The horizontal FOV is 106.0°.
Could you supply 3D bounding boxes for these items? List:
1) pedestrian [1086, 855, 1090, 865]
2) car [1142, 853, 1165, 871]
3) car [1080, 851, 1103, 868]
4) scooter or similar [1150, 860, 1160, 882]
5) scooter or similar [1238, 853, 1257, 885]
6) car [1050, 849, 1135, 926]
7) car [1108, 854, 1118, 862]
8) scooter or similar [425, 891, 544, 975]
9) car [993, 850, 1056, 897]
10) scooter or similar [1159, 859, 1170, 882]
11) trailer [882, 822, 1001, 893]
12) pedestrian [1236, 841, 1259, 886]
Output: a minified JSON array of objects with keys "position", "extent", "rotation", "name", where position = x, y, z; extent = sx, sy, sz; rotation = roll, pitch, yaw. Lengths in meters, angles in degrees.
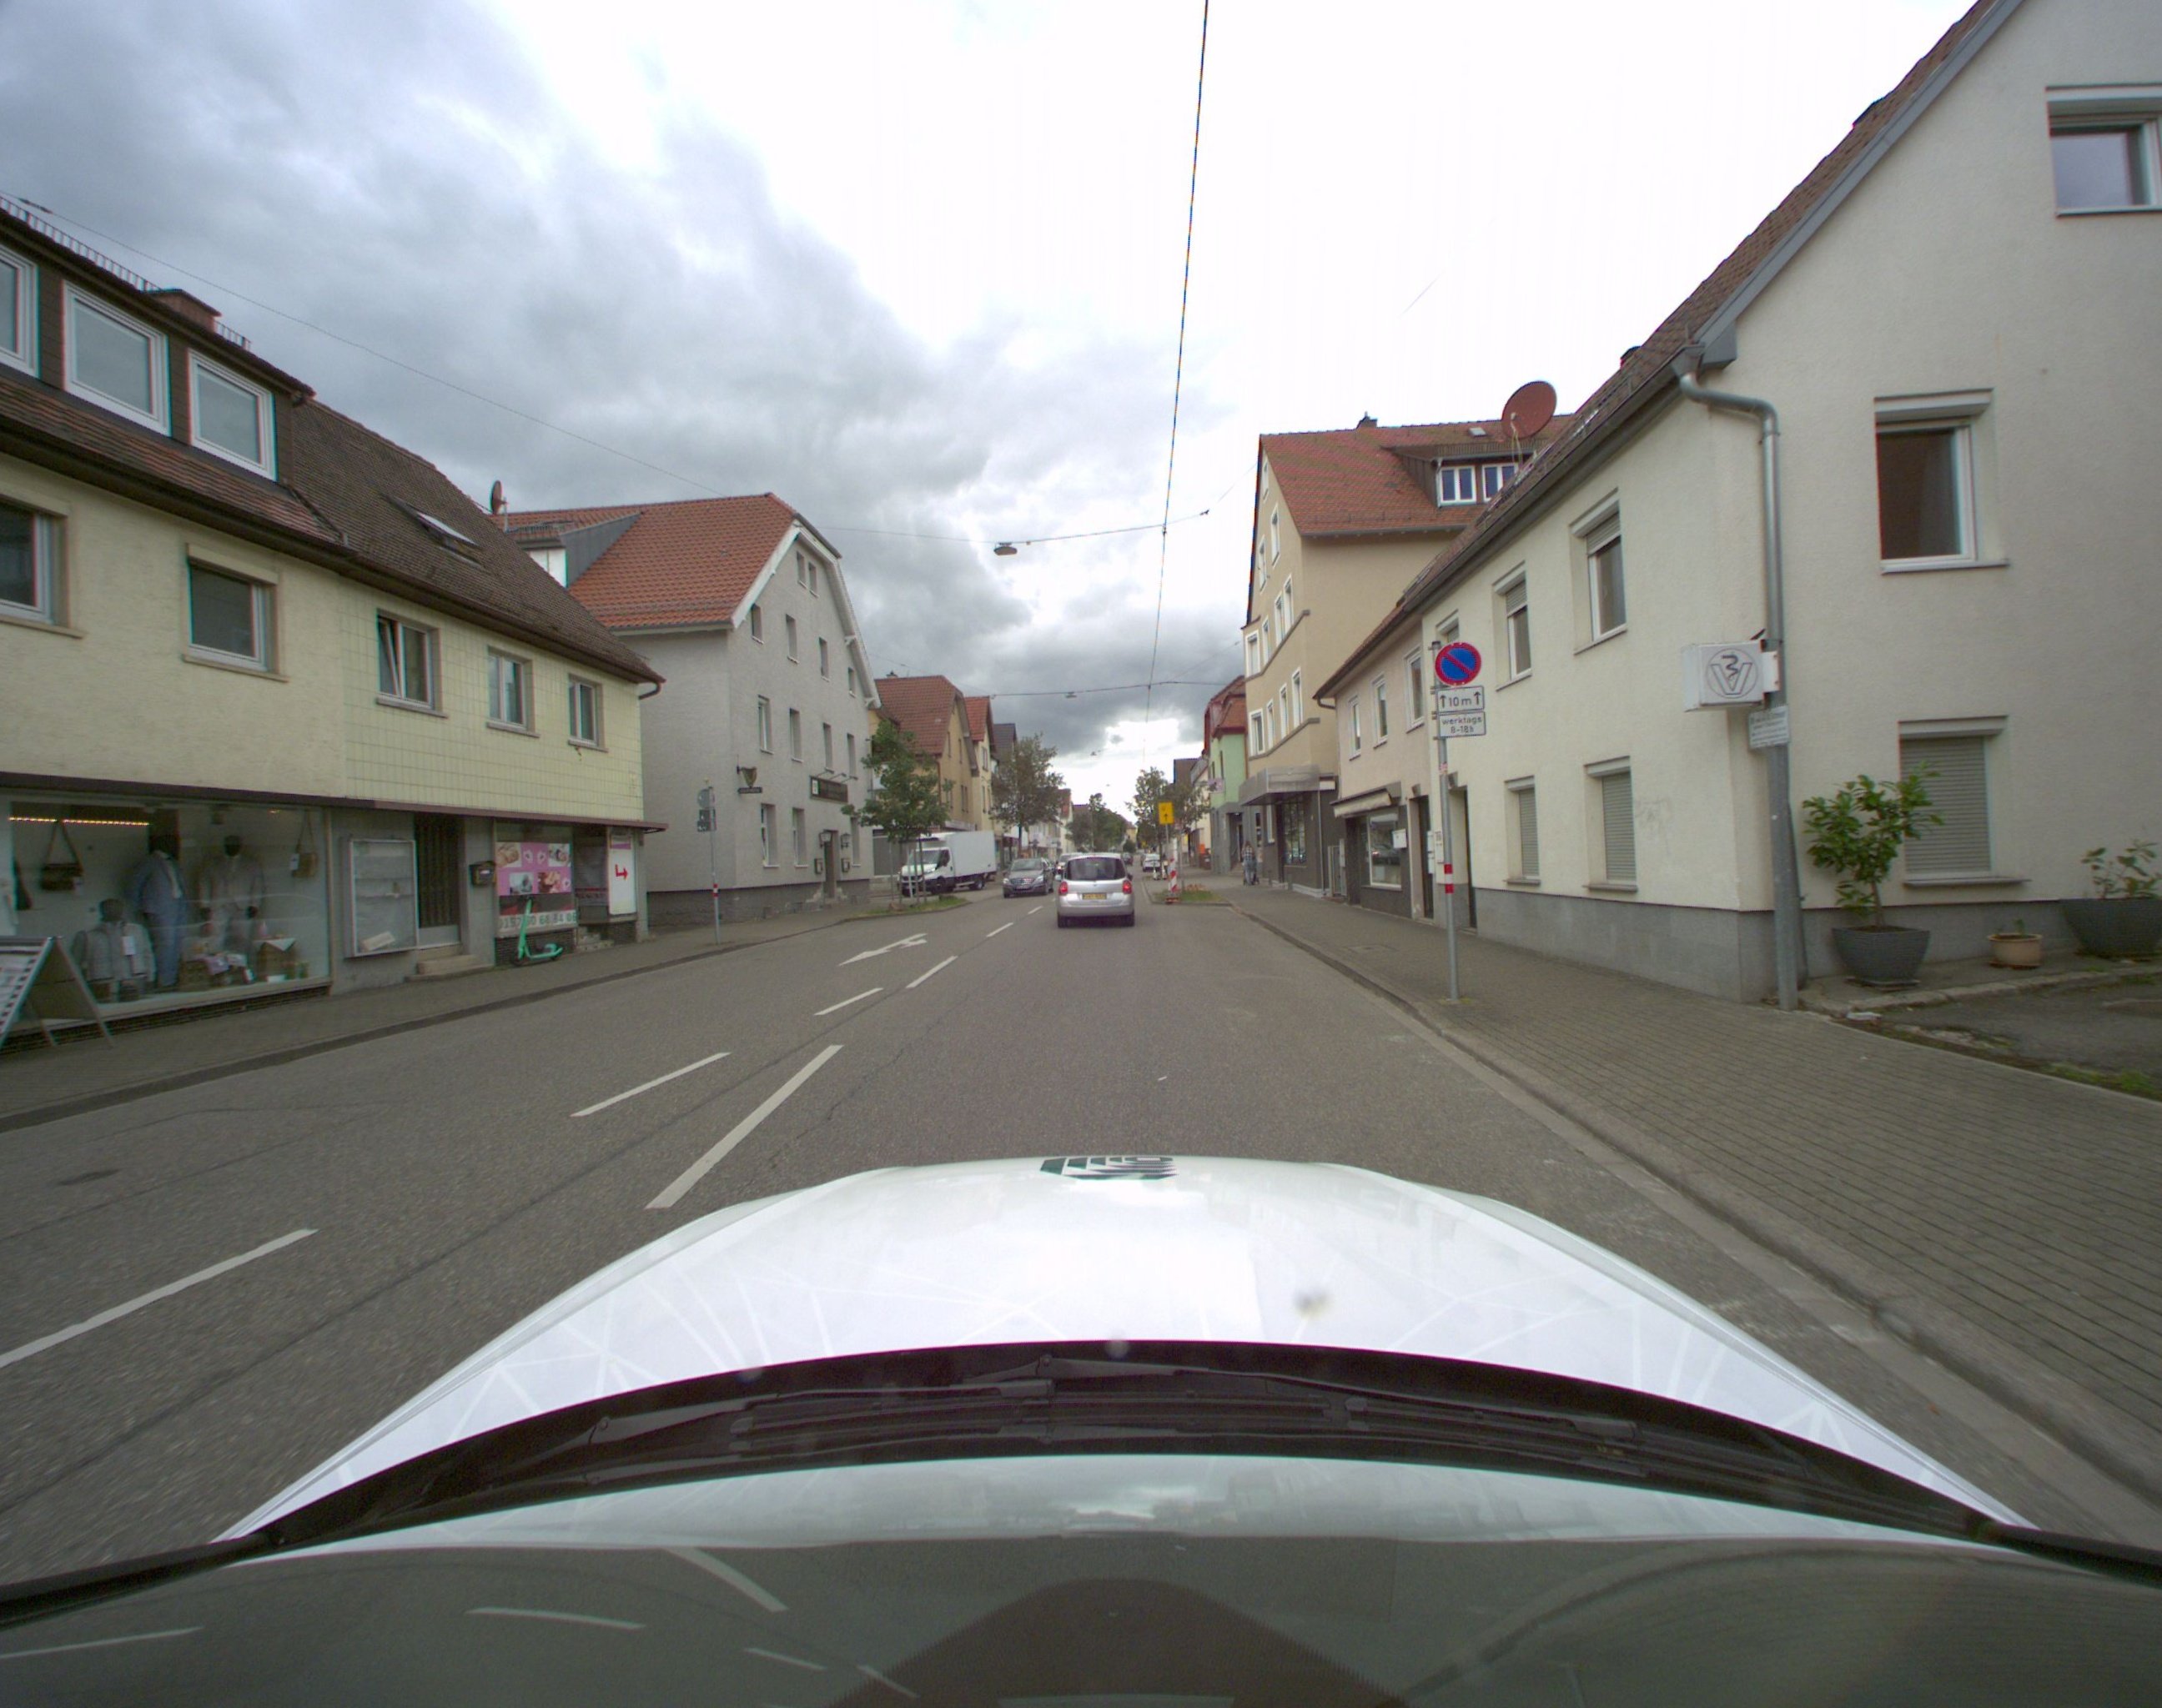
[{"position":[1.222,1.042,143.951],"extent":[0.759,1.791,0.891],"rotation":[-1,-1,4],"name":"pedestrian"},{"position":[6.085,0.665,68.424],"extent":[1.822,1.446,4.337],"rotation":[-1,0,5],"name":"car"},{"position":[1.063,0.536,78.540],"extent":[1.834,1.433,4.549],"rotation":[-3,-1,5],"name":"car"},{"position":[4.121,0.935,45.584],"extent":[0.500,1.235,1.944],"rotation":[-1,-1,3],"name":"scooter or similar"},{"position":[6.673,0.591,32.689],"extent":[0.587,1.233,0.892],"rotation":[-1,-1,3],"name":"scooter or similar"},{"position":[0.361,0.706,18.695],"extent":[1.674,1.566,3.998],"rotation":[-1,0,5],"name":"car"},{"position":[7.677,0.925,195.280],"extent":[1.892,1.737,4.371],"rotation":[-3,-1,5],"name":"car"},{"position":[-9.383,1.207,12.896],"extent":[0.525,1.170,1.723],"rotation":[-1,-1,4],"name":"scooter or similar"},{"position":[-2.309,0.793,34.479],"extent":[1.985,1.796,4.281],"rotation":[-3,-1,4],"name":"car"},{"position":[4.652,0.927,45.553],"extent":[0.500,1.235,1.944],"rotation":[-1,-1,3],"name":"scooter or similar"},{"position":[-6.765,0.177,40.646],"extent":[2.482,3.219,7.172],"rotation":[-1,-1,21],"name":"trailer"},{"position":[6.492,0.360,31.749],"extent":[0.747,1.720,0.901],"rotation":[-1,-1,4],"name":"pedestrian"}]
